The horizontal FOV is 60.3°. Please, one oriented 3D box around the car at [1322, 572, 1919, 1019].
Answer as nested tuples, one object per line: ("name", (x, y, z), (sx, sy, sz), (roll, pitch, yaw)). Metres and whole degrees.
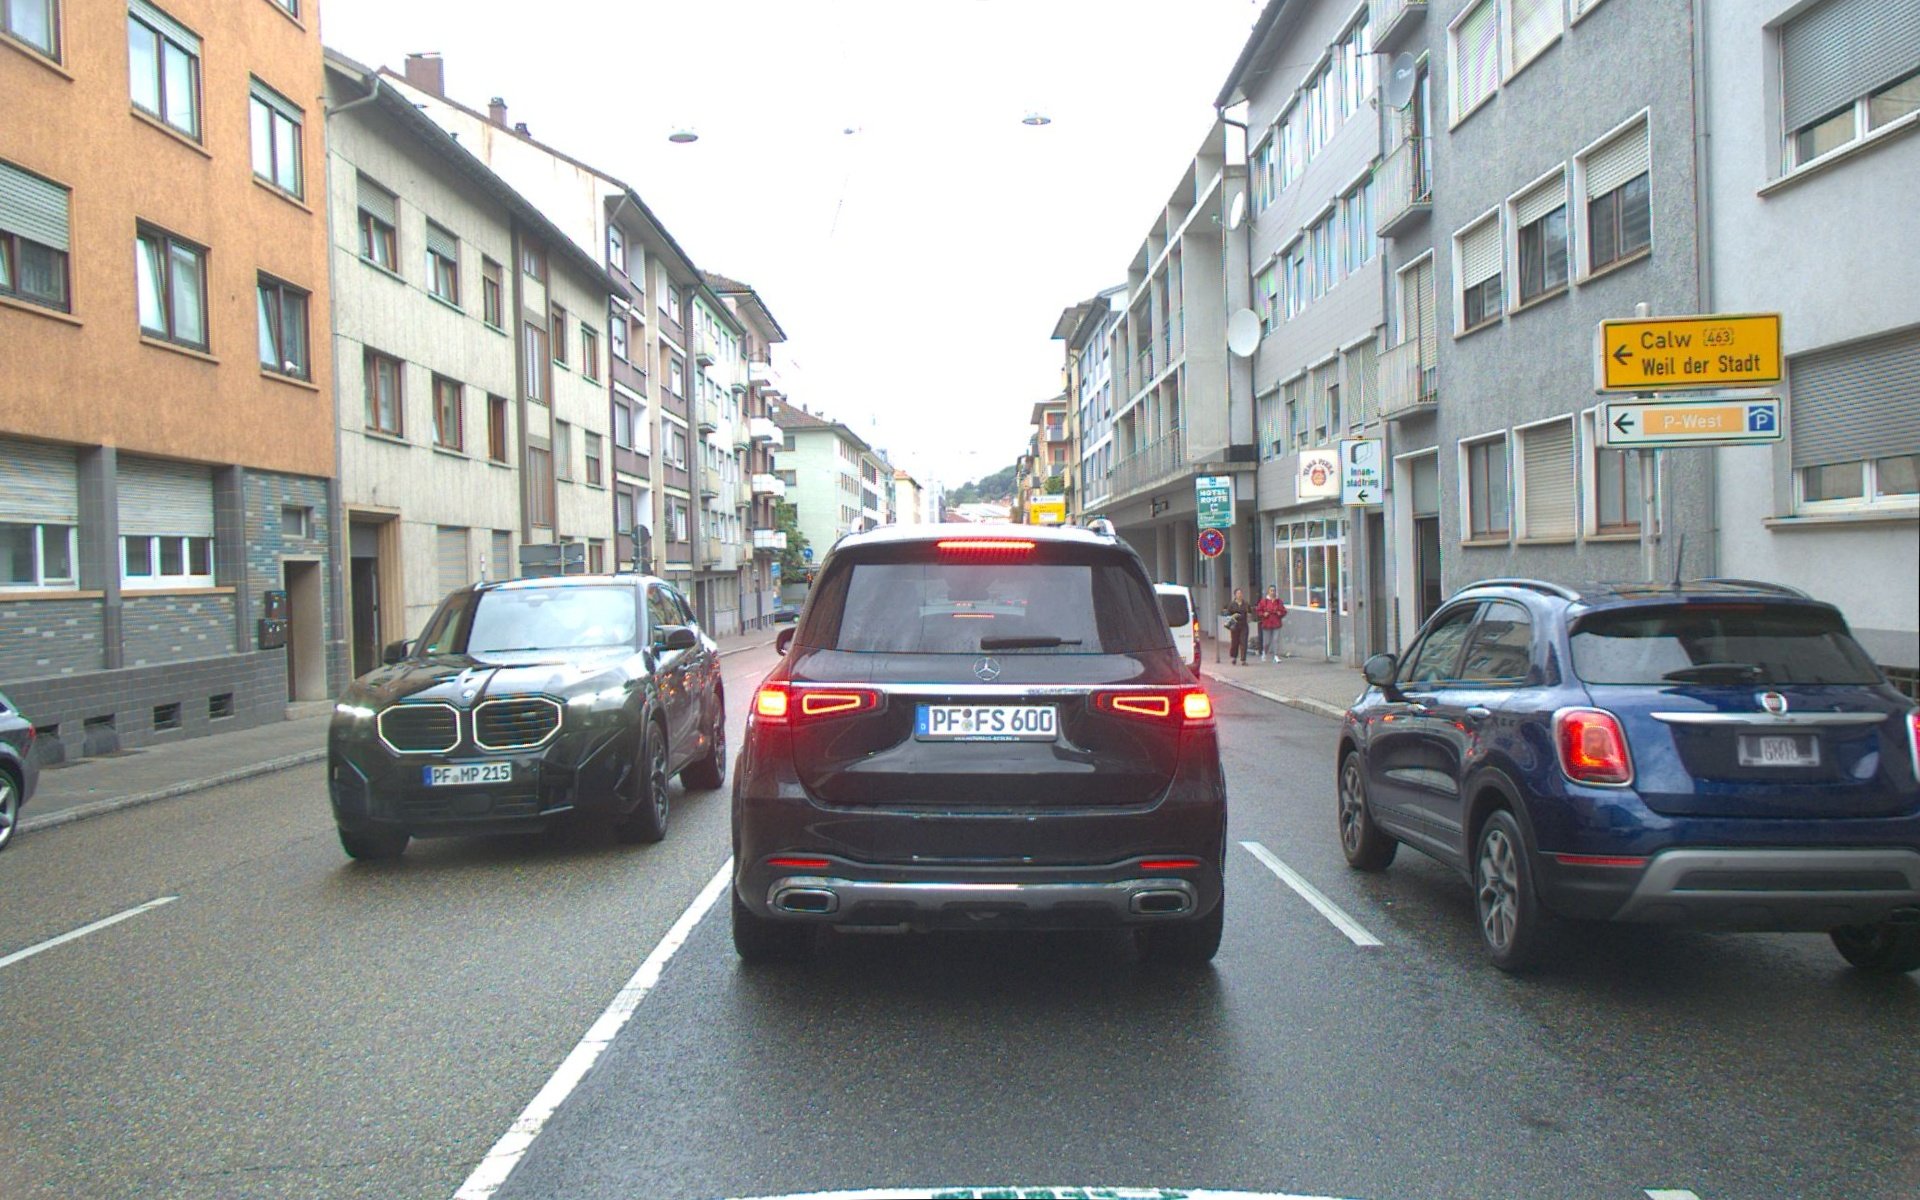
("car", (3.084, 0.701, 8.010), (1.731, 1.608, 3.999), (0, 0, -1))
